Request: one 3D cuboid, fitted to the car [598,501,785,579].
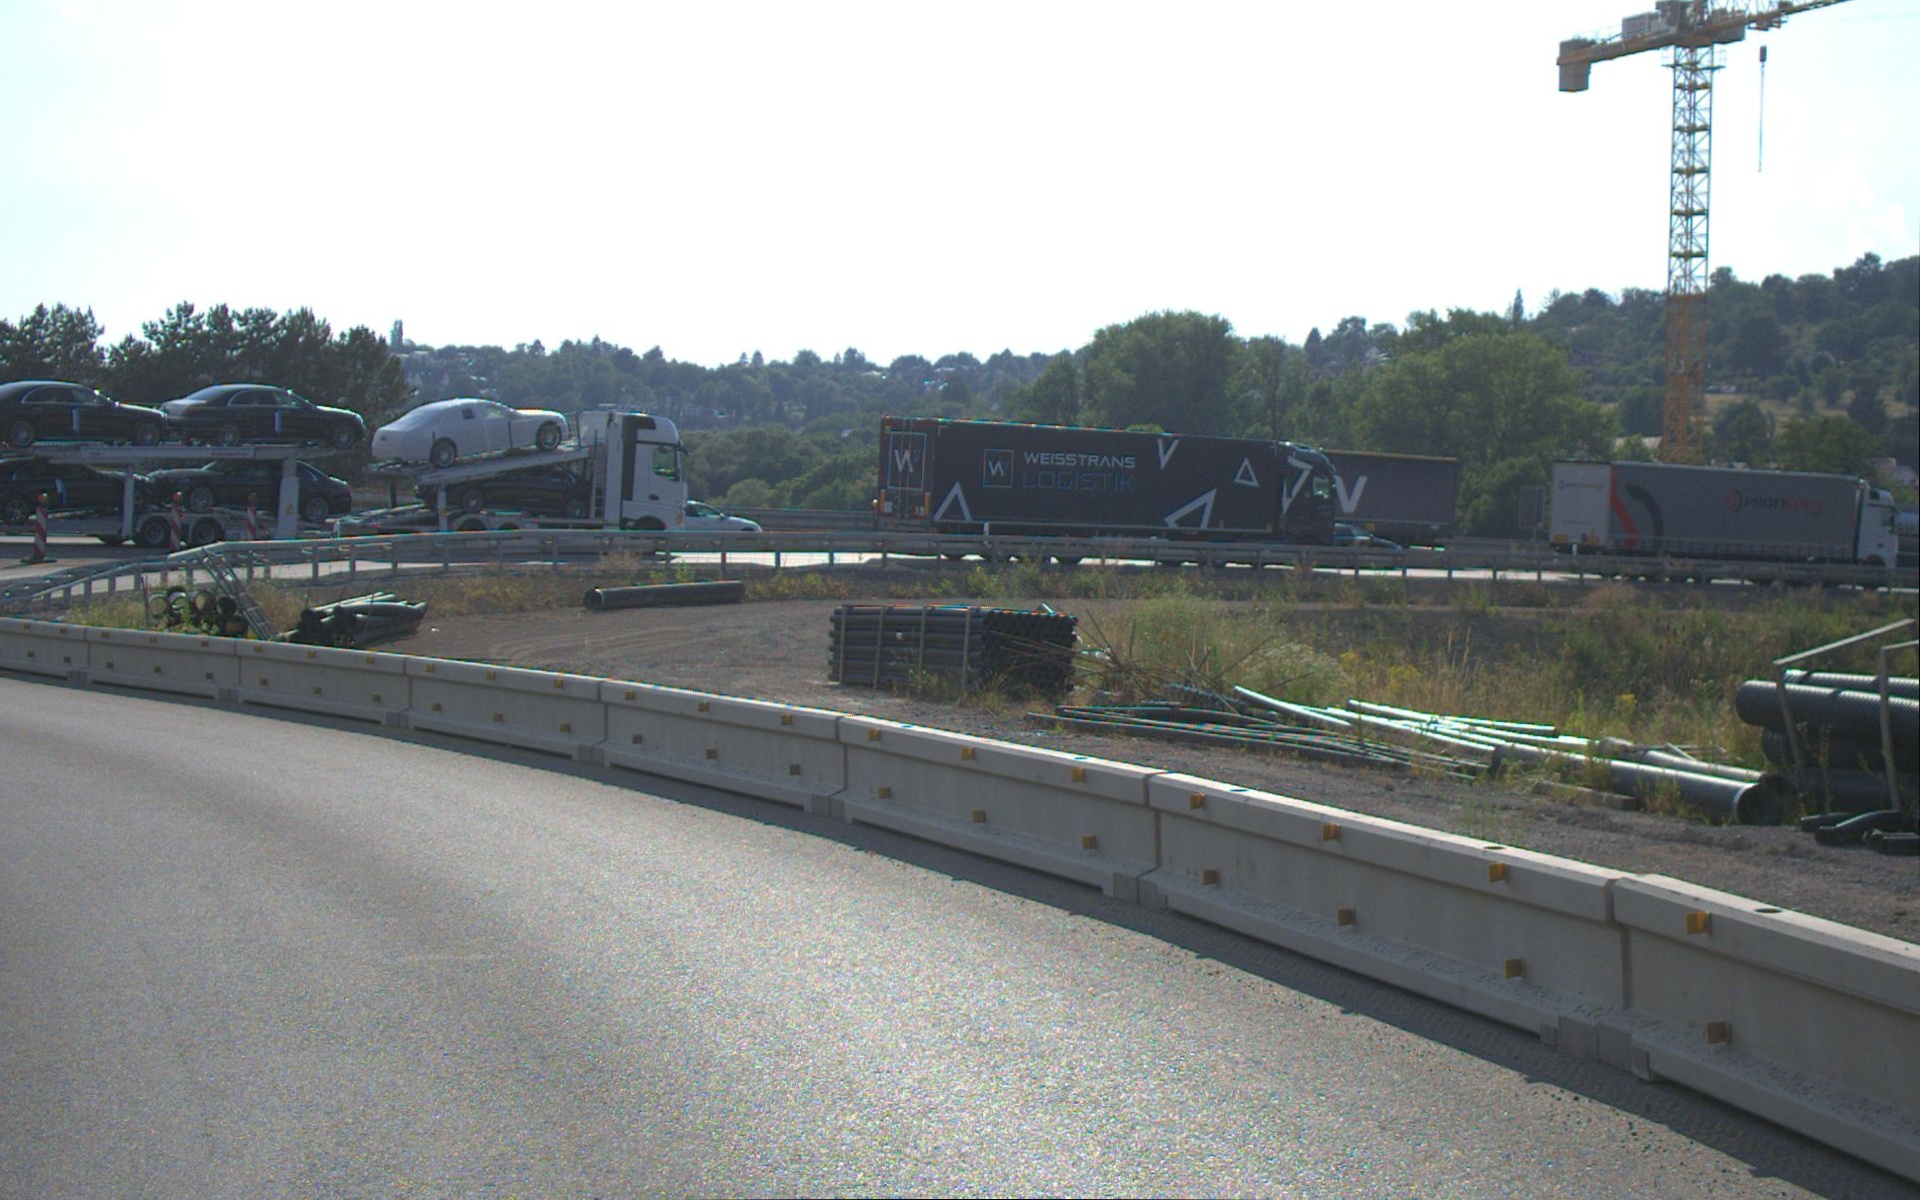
[{"bbox_3d":[-7.672,-1.711,98.600,4.964,1.974,2.035,1,4,-39],"label":"car"}]

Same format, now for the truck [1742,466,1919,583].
[{"bbox_3d":[32.339,-2.763,126.700,6.605,3.983,3.353,1,2,-40],"label":"truck"}]

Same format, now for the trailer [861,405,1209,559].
[{"bbox_3d":[2.332,-3.430,101.862,10.760,4.078,2.968,2,1,-39],"label":"trailer"}]

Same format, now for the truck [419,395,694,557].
[{"bbox_3d":[-10.650,-3.260,91.136,6.605,3.983,2.857,1,2,-40],"label":"truck"}]

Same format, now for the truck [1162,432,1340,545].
[{"bbox_3d":[10.263,-3.884,121.104,5.671,3.714,3.005,1,0,-39],"label":"truck"}]

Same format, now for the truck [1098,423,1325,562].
[{"bbox_3d":[7.802,-3.297,106.203,6.604,3.983,2.894,2,2,-39],"label":"truck"}]

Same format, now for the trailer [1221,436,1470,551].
[{"bbox_3d":[13.991,-3.796,124.155,9.541,3.739,3.016,1,0,-39],"label":"trailer"}]

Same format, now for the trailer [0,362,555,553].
[{"bbox_3d":[-17.527,-3.433,85.336,15.699,3.983,2.866,1,2,-40],"label":"trailer"}]

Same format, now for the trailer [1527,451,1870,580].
[{"bbox_3d":[26.309,-2.922,121.693,14.701,3.983,3.395,1,2,-40],"label":"trailer"}]
